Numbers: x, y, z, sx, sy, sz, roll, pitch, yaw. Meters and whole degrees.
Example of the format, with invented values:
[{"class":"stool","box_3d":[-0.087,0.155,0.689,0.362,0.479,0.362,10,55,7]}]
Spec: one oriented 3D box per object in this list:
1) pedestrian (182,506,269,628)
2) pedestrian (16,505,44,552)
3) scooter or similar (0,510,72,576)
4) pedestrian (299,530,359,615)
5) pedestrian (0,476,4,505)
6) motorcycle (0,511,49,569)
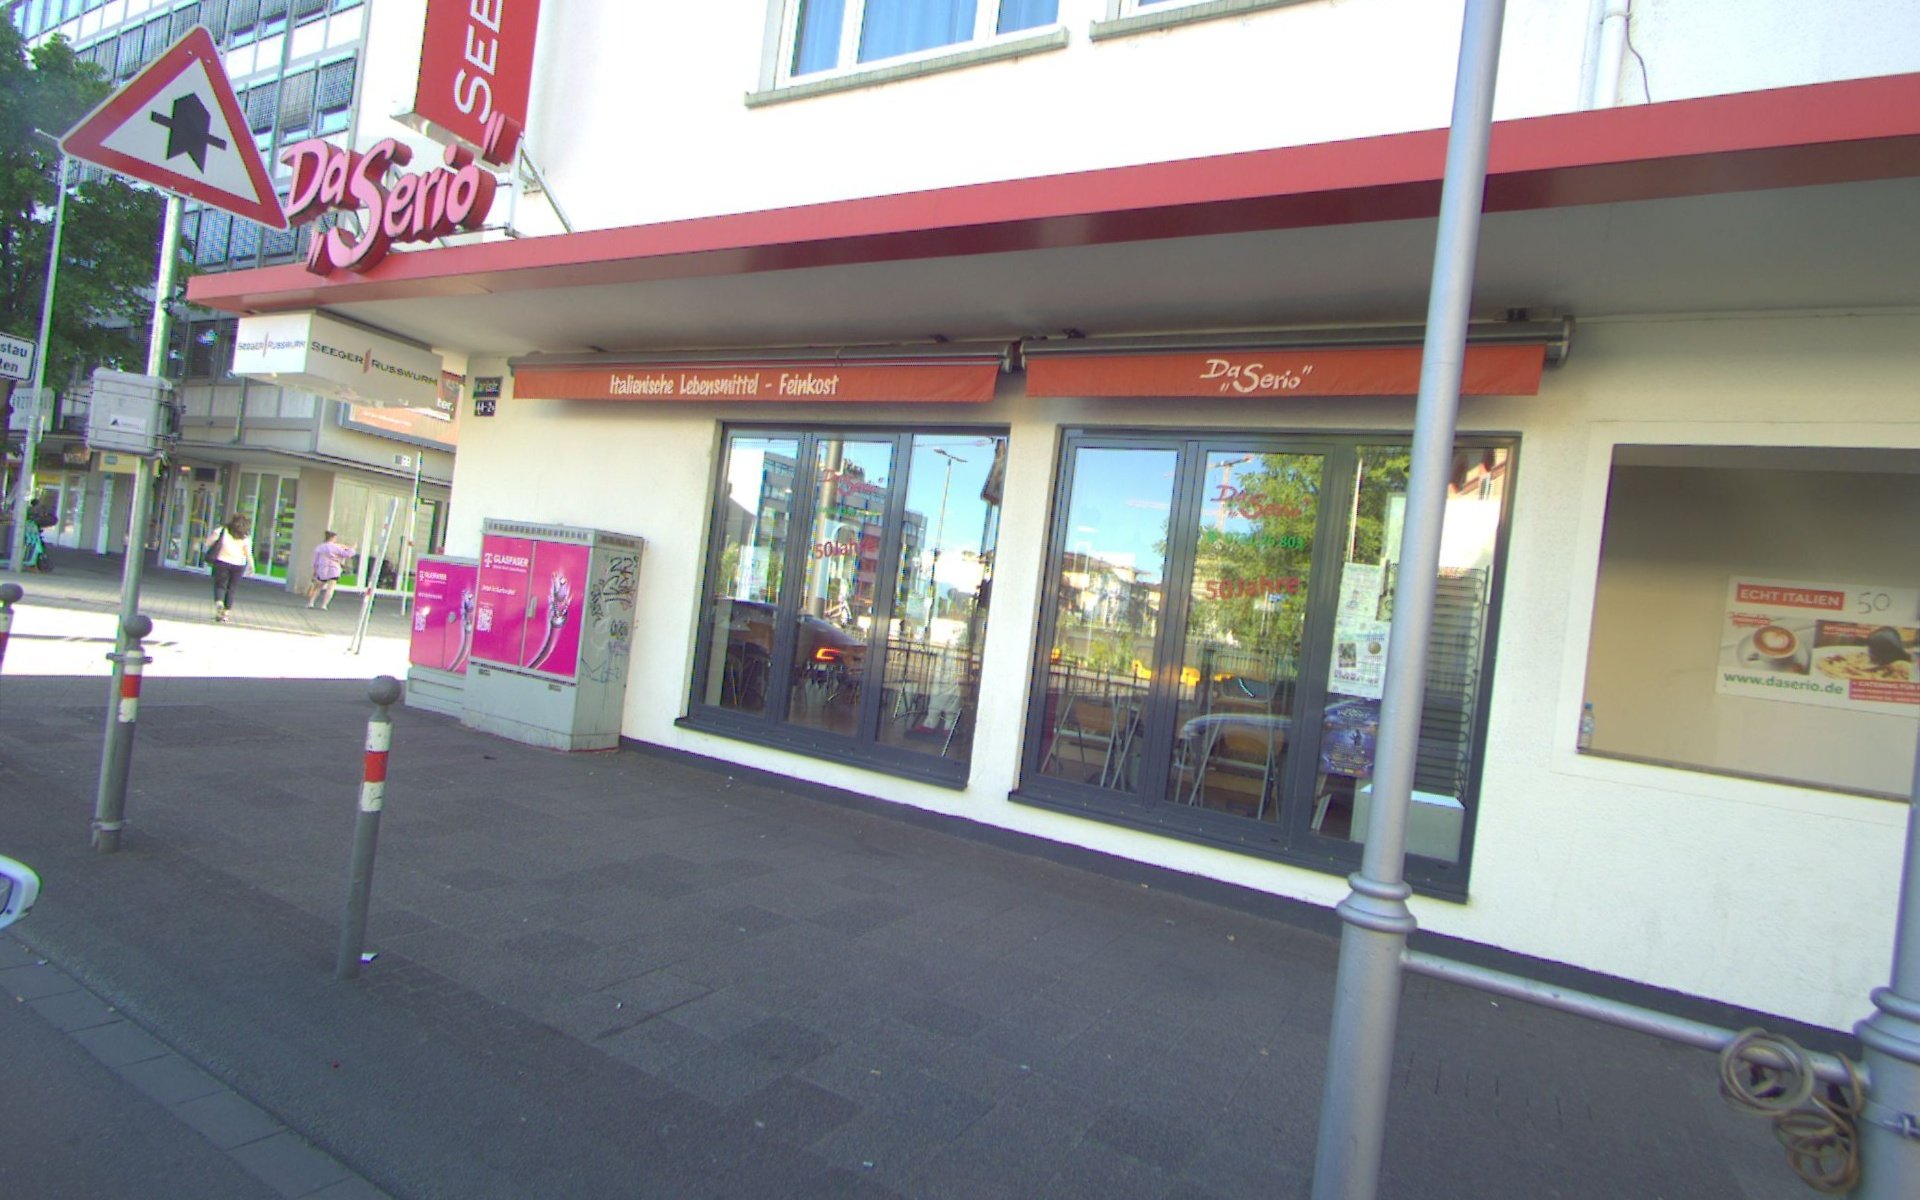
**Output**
[{"class":"pedestrian","box_3d":[-11.637,-0.515,15.985,0.909,1.772,1.029,8,-1,-35]},{"class":"pedestrian","box_3d":[-28.144,-2.161,30.453,0.504,1.359,0.390,6,-1,34]},{"class":"scooter or similar","box_3d":[-19.931,-1.235,21.170,1.628,1.229,0.640,8,-1,-29]},{"class":"pedestrian","box_3d":[-13.521,-0.589,21.561,0.884,1.687,0.801,8,-1,-35]},{"class":"pedestrian","box_3d":[-28.955,-2.715,29.767,0.570,2.037,0.663,6,-1,34]},{"class":"motorcycle","box_3d":[-21.561,-1.404,22.400,0.532,1.186,1.711,7,-2,30]}]
